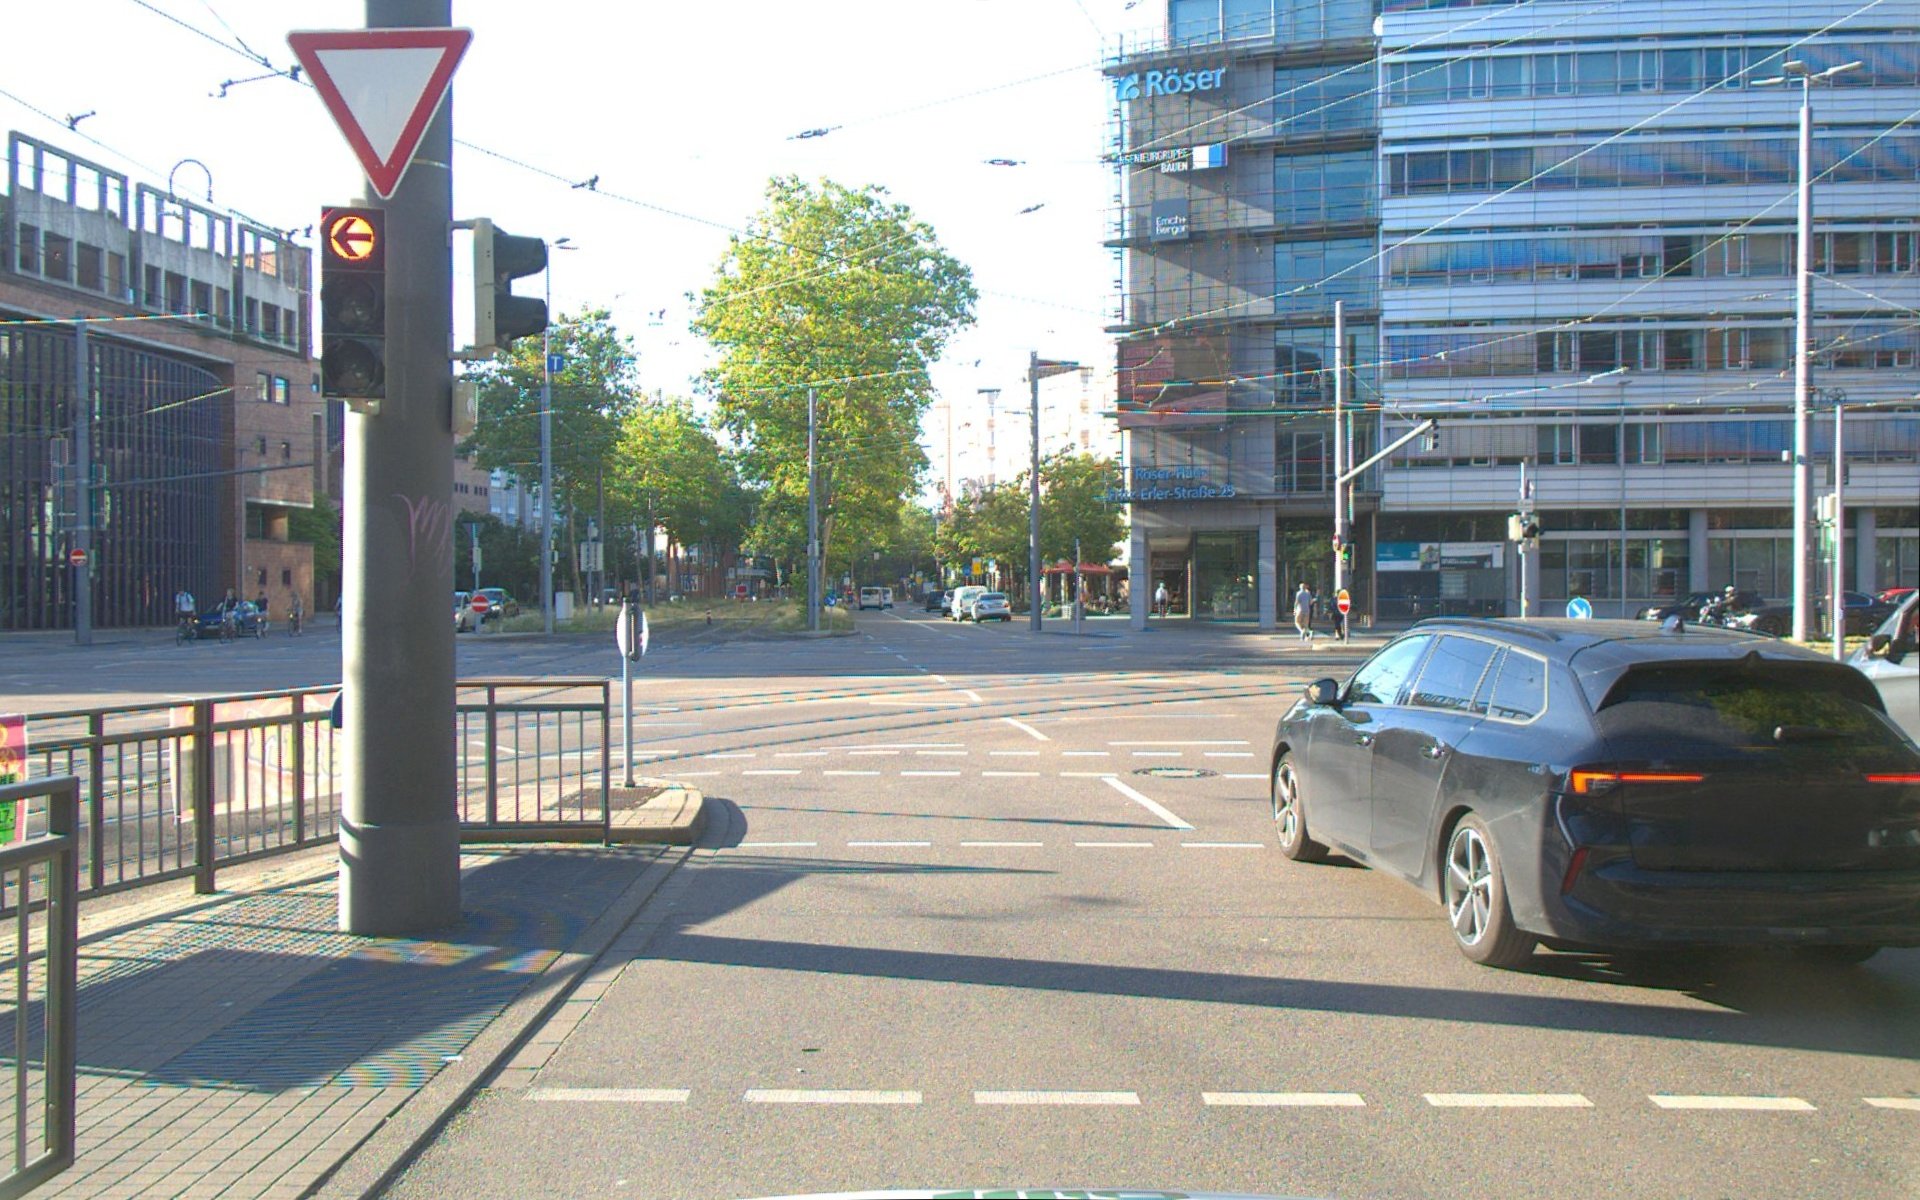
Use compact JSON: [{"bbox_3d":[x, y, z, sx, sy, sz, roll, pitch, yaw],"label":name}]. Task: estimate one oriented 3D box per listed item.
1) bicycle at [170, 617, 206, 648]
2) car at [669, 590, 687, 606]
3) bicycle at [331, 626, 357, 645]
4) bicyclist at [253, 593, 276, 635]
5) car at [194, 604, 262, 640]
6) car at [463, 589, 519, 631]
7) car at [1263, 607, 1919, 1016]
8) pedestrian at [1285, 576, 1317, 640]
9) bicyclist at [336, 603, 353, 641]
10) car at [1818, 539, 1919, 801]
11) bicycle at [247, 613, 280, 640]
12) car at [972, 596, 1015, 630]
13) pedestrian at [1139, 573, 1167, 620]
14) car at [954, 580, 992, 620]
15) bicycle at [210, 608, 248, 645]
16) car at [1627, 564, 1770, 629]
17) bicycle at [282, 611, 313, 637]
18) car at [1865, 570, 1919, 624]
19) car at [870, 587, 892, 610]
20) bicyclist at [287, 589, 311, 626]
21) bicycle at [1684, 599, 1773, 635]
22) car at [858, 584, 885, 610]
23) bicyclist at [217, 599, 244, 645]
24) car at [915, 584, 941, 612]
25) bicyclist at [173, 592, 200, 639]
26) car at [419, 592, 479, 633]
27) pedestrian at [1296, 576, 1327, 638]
[{"bbox_3d":[-26.836,1.121,57.497,0.641,1.016,1.897,-1,0,-10],"label":"bicycle"},{"bbox_3d":[-30.031,-0.206,176.011,1.644,1.635,3.994,0,0,-7],"label":"car"},{"bbox_3d":[-27.398,1.555,73.579,0.578,0.784,1.966,-1,0,-5],"label":"bicycle"},{"bbox_3d":[-27.103,0.535,64.450,0.648,1.597,0.757,-1,0,-8],"label":"bicyclist"},{"bbox_3d":[-29.860,0.882,67.555,1.551,1.400,3.709,-1,0,-8],"label":"car"},{"bbox_3d":[-21.122,0.416,74.664,1.787,1.821,3.994,-1,0,-7],"label":"car"},{"bbox_3d":[2.898,0.770,8.139,1.729,1.429,4.292,0,0,-5],"label":"car"},{"bbox_3d":[11.127,0.270,53.987,0.852,2.049,0.793,1,-1,-1],"label":"pedestrian"},{"bbox_3d":[-27.408,0.973,73.631,0.575,1.654,0.514,-1,0,-6],"label":"bicyclist"},{"bbox_3d":[8.015,0.530,11.208,1.959,1.929,4.883,0,0,1],"label":"car"},{"bbox_3d":[-27.076,1.028,64.297,0.680,1.016,1.898,-1,0,-8],"label":"bicycle"},{"bbox_3d":[1.635,0.633,82.805,1.988,1.624,3.999,1,0,-1],"label":"car"},{"bbox_3d":[9.307,-0.173,79.943,1.285,2.228,1.171,1,-1,5],"label":"pedestrian"},{"bbox_3d":[0.684,0.007,89.619,1.953,2.049,3.999,1,0,-1],"label":"car"},{"bbox_3d":[-25.590,0.924,57.935,0.672,1.162,2.107,-1,2,-9],"label":"bicycle"},{"bbox_3d":[24.637,-0.103,55.275,3.906,2.049,2.000,1,0,-1],"label":"car"},{"bbox_3d":[-26.954,0.968,67.342,0.639,1.068,2.010,0,0,-6],"label":"bicycle"},{"bbox_3d":[29.649,-0.069,49.696,3.903,1.579,1.798,1,0,4],"label":"car"},{"bbox_3d":[-7.297,-0.109,153.454,1.953,2.049,3.998,1,0,-2],"label":"car"},{"bbox_3d":[-26.989,0.291,67.581,0.640,1.500,1.031,0,0,-6],"label":"bicyclist"},{"bbox_3d":[23.172,0.502,49.877,2.359,1.040,0.637,-1,0,4],"label":"bicycle"},{"bbox_3d":[-7.292,-0.214,135.930,1.952,2.049,4.000,1,0,0],"label":"car"},{"bbox_3d":[-25.603,0.750,58.022,0.669,1.587,0.757,-1,0,-9],"label":"bicyclist"},{"bbox_3d":[-2.439,-0.140,126.581,1.953,2.049,3.999,1,0,-1],"label":"car"},{"bbox_3d":[-26.821,0.543,57.366,0.648,1.602,0.757,-1,0,-10],"label":"bicyclist"},{"bbox_3d":[-20.653,0.482,66.995,1.591,1.604,3.994,-1,0,-7],"label":"car"},{"bbox_3d":[11.738,0.247,55.290,0.832,2.049,0.707,1,-1,-2],"label":"pedestrian"}]
